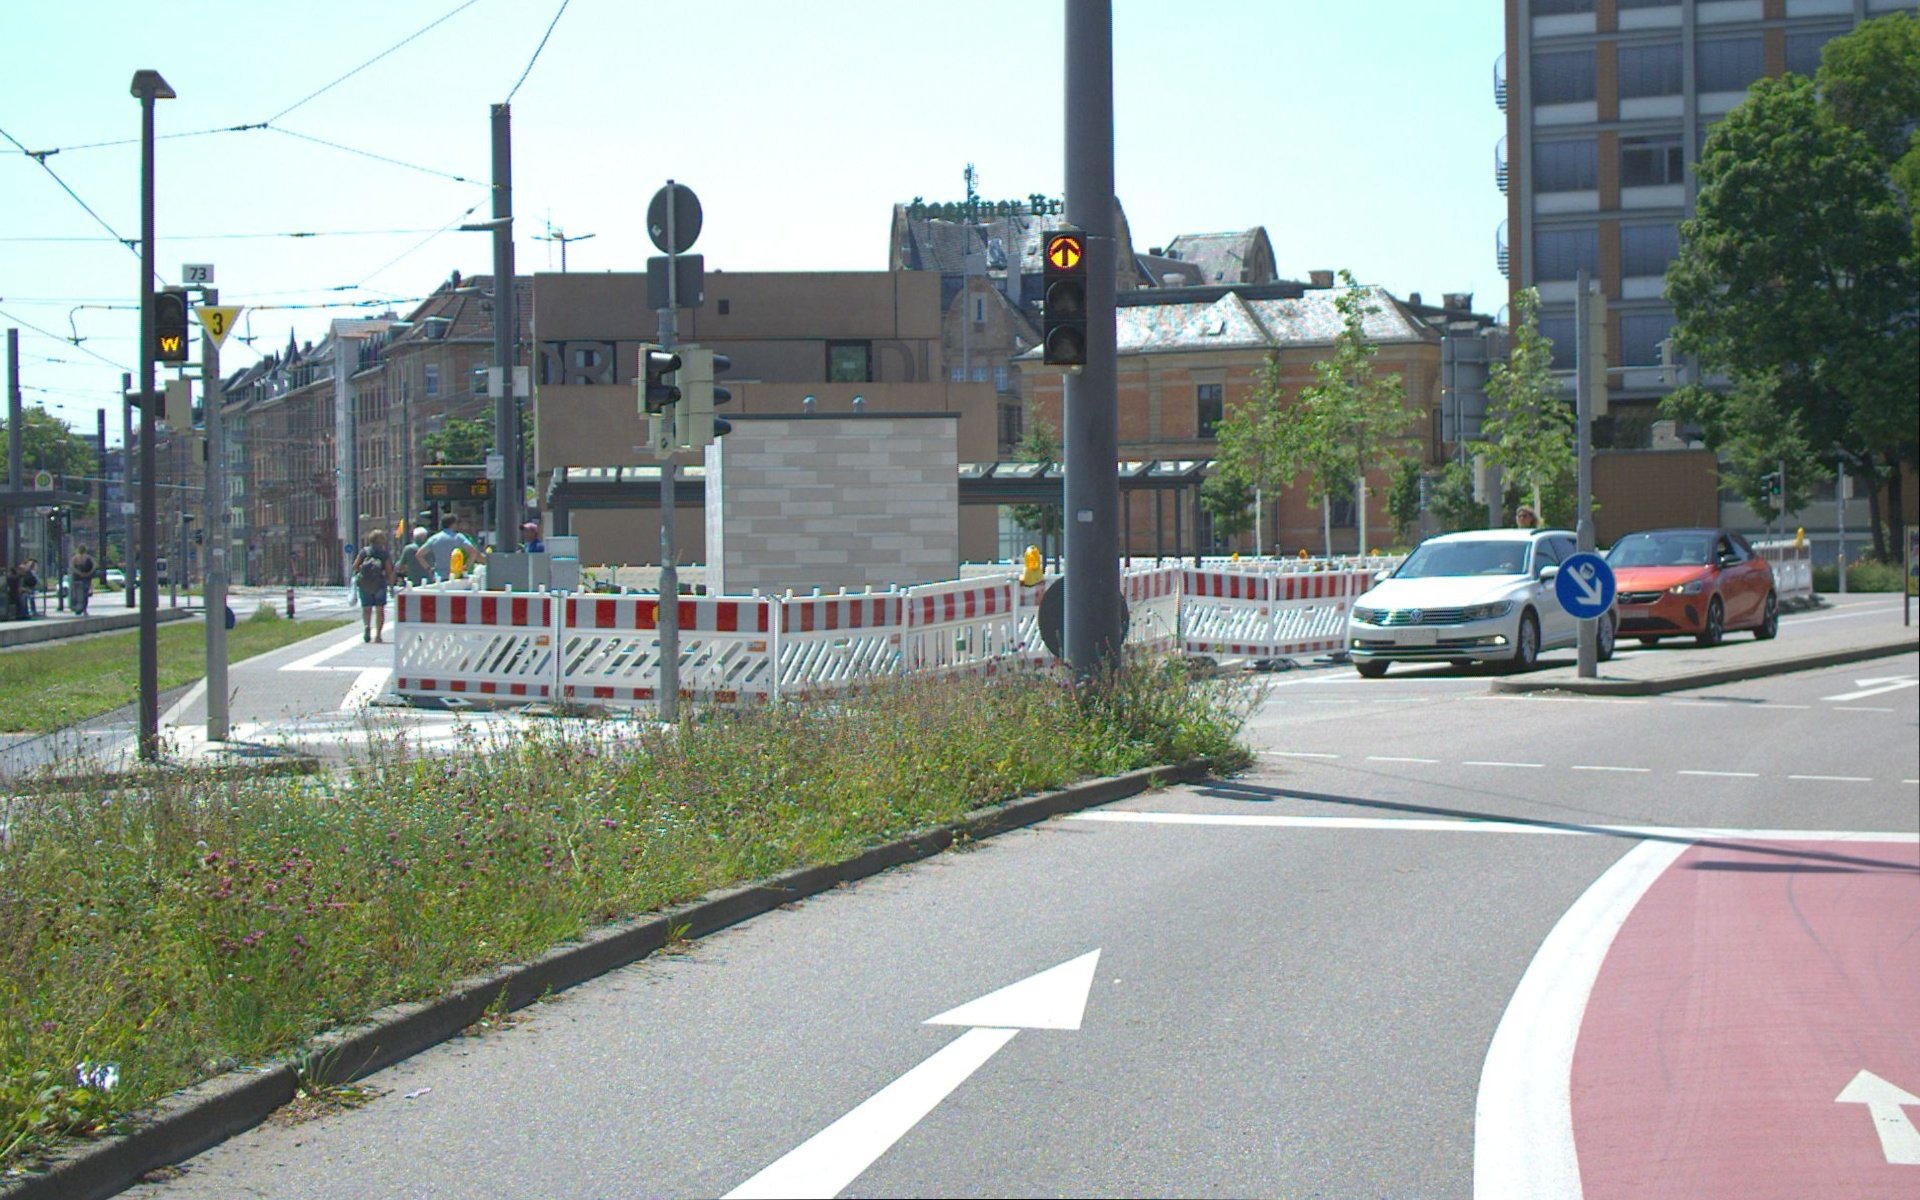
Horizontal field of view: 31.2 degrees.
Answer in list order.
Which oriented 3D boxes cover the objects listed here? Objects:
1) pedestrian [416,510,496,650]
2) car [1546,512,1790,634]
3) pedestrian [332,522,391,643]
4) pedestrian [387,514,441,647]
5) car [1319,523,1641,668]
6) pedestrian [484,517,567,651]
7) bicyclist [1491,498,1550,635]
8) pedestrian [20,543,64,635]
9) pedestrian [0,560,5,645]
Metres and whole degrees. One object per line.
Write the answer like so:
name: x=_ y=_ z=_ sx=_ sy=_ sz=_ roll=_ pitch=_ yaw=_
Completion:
pedestrian: x=-6.757 y=-0.267 z=46.104 sx=0.730 sy=1.858 sz=0.765 roll=-1 pitch=0 yaw=42
car: x=8.781 y=-0.329 z=42.411 sx=1.734 sy=1.420 sz=4.117 roll=-1 pitch=0 yaw=30
pedestrian: x=-8.486 y=-0.246 z=48.723 sx=0.726 sy=1.701 sz=0.744 roll=0 pitch=0 yaw=-18
pedestrian: x=-7.977 y=-0.277 z=50.213 sx=0.719 sy=1.917 sz=1.074 roll=0 pitch=0 yaw=-12
car: x=5.587 y=-0.058 z=36.446 sx=1.996 sy=1.433 sz=4.698 roll=-1 pitch=0 yaw=27
pedestrian: x=-6.002 y=-0.225 z=47.502 sx=0.976 sy=1.826 sz=0.634 roll=-1 pitch=1 yaw=-21
bicyclist: x=7.089 y=-0.431 z=43.496 sx=0.568 sy=1.713 sz=0.506 roll=1 pitch=2 yaw=34
pedestrian: x=-21.150 y=-0.258 z=79.207 sx=0.828 sy=2.089 sz=0.902 roll=-1 pitch=1 yaw=-8
pedestrian: x=-21.229 y=0.065 z=74.204 sx=0.971 sy=1.828 sz=0.777 roll=-1 pitch=1 yaw=-31
